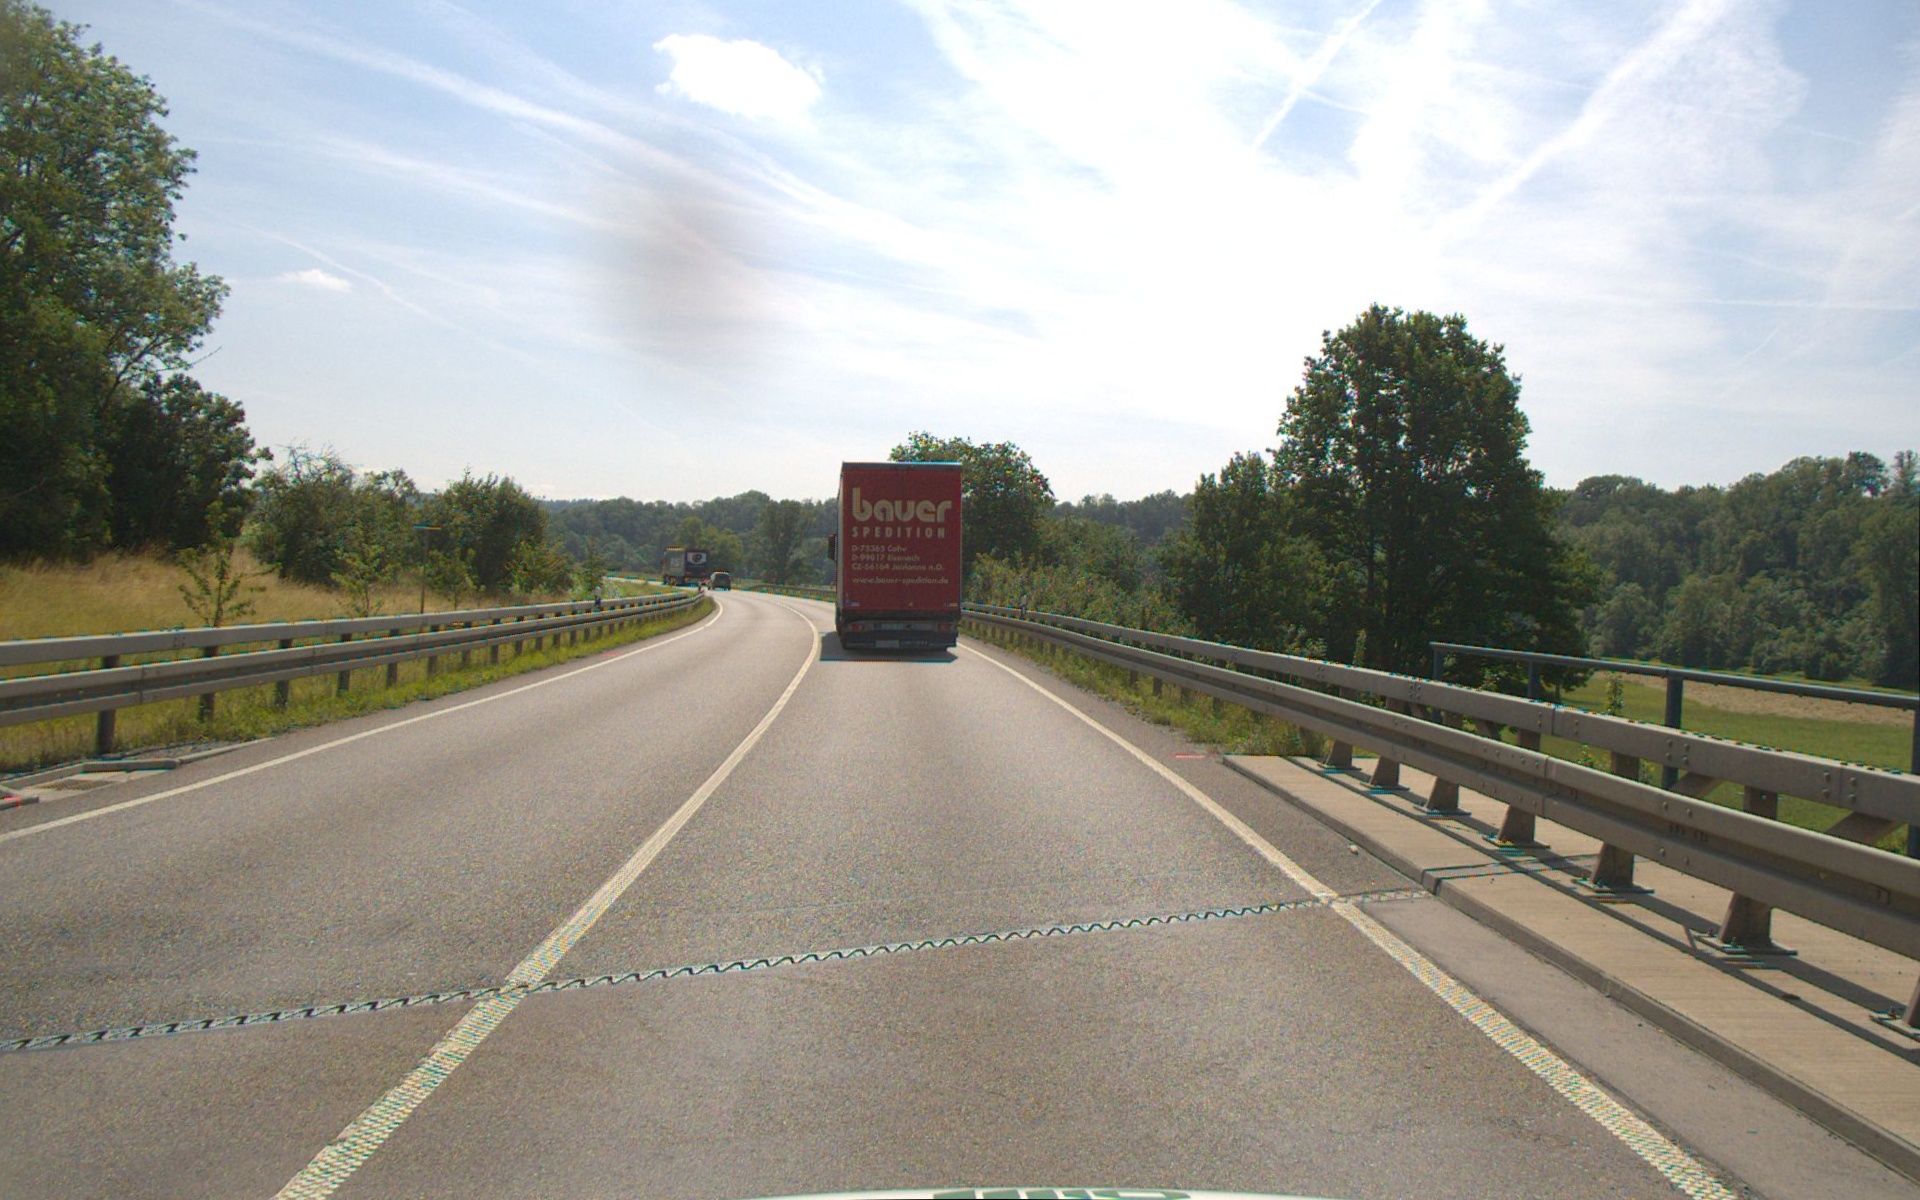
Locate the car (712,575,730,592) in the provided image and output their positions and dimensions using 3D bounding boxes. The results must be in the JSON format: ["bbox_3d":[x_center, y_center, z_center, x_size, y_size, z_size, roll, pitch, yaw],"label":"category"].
[{"bbox_3d":[-23.005,-1.589,159.168,1.552,1.527,3.868,1,1,-10],"label":"car"}]

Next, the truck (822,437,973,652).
[{"bbox_3d":[-1.506,-1.188,37.936,3.033,4.337,8.309,1,1,-3],"label":"truck"}]

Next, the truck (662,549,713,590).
[{"bbox_3d":[-30.421,-3.309,184.186,3.585,4.367,11.921,1,0,-19],"label":"truck"}]
